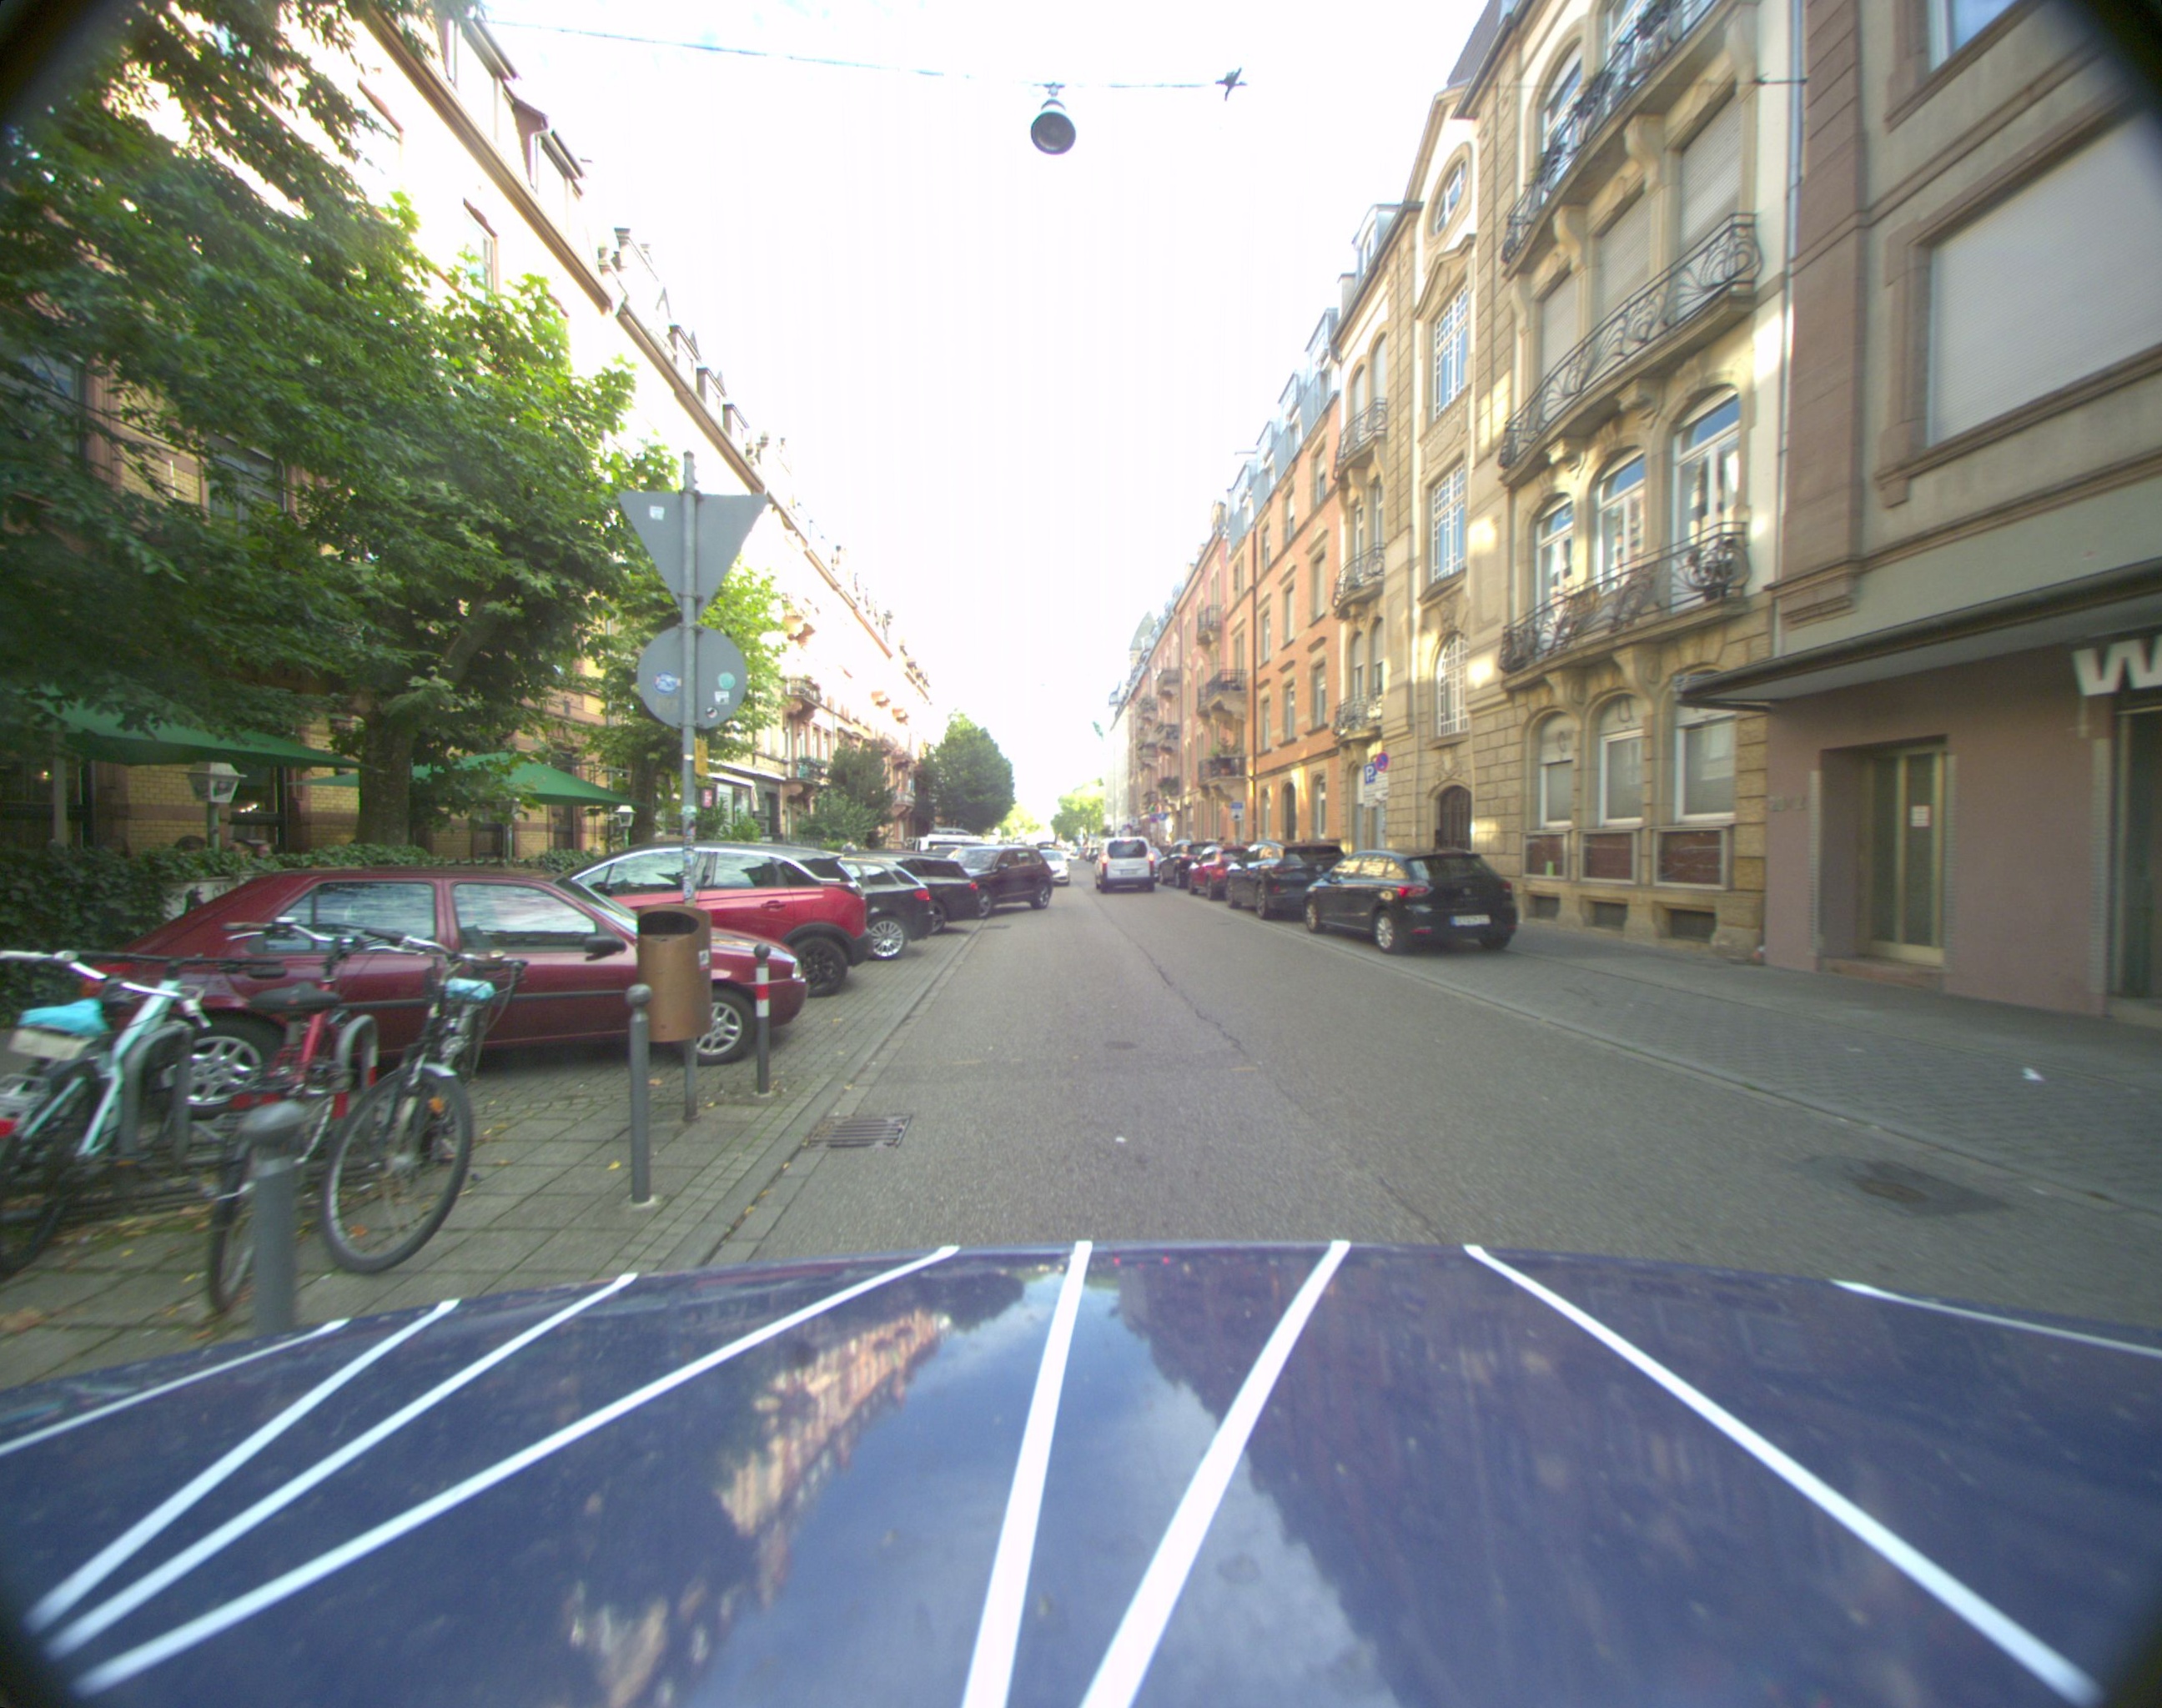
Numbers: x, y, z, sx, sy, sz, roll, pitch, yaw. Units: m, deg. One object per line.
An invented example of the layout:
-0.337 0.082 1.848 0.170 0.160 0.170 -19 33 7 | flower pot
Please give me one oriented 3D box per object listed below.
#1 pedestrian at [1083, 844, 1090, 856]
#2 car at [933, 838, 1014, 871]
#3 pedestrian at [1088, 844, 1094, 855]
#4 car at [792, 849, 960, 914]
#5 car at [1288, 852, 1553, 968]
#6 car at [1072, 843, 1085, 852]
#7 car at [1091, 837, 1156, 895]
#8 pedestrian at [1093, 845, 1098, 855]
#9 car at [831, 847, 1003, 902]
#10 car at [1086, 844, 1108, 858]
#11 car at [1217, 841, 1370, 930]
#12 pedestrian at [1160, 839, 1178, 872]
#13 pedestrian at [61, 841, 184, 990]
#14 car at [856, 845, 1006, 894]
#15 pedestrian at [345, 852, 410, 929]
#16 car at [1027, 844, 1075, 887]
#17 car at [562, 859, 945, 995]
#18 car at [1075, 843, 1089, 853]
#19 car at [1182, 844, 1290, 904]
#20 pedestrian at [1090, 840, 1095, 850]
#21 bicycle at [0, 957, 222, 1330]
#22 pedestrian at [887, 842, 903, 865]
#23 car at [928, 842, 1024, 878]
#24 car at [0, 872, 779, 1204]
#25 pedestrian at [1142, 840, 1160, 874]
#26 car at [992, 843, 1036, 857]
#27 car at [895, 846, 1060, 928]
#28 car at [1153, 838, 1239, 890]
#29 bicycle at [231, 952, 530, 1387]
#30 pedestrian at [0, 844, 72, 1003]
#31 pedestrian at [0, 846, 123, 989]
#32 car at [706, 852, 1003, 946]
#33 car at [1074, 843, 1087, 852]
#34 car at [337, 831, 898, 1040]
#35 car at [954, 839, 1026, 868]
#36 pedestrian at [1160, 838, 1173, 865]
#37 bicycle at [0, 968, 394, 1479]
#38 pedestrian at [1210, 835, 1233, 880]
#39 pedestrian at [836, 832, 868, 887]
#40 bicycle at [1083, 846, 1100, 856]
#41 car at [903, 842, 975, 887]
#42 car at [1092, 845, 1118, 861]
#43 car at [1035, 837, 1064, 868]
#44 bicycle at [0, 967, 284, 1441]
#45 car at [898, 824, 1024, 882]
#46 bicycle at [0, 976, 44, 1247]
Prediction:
0.656 -0.483 92.030 0.739 1.341 0.644 -2 2 0 | pedestrian
-6.462 0.071 45.887 4.650 1.774 1.809 2 -1 -4 | car
1.230 -0.529 91.476 0.689 1.365 0.739 -1 1 1 | pedestrian
-5.132 0.652 19.259 3.727 1.476 1.736 1 0 -40 | car
4.860 0.694 11.683 1.999 1.412 4.242 0 1 -3 | car
-0.475 -1.148 126.420 1.912 1.412 3.998 -2 1 -3 | car
1.395 0.357 26.700 1.922 1.818 4.437 -2 1 -1 | car
1.787 -0.494 92.772 0.597 1.237 0.694 -1 1 4 | pedestrian
-4.715 0.587 22.158 4.478 1.456 1.874 2 0 -37 | car
1.620 -0.317 77.554 1.675 1.407 4.009 -2 1 -6 | car
4.388 0.550 16.537 1.795 1.619 4.845 0 1 -2 | car
4.431 0.082 38.229 0.683 1.652 0.550 -3 2 -32 | pedestrian
-10.912 0.682 8.665 0.648 1.633 0.563 2 1 -7 | pedestrian
-4.882 0.543 25.054 4.479 1.468 1.884 3 -1 -42 | car
-11.453 0.584 12.391 0.489 1.212 0.649 2 1 -11 | pedestrian
-1.239 0.433 31.872 1.811 1.622 3.999 -3 1 -1 | car
-4.303 0.840 10.438 4.421 1.448 1.938 -1 1 -27 | car
0.185 -0.941 113.746 1.828 1.477 4.168 -2 1 -3 | car
4.343 0.491 22.010 1.999 1.536 4.424 0 1 -3 | car
1.981 -1.616 133.958 0.846 1.699 0.879 -2 2 -2 | pedestrian
-3.968 1.046 2.870 0.348 1.034 1.852 3 1 -29 | bicycle
-12.002 -0.050 49.014 0.930 1.488 0.811 1 1 -9 | pedestrian
-5.383 0.292 39.291 4.466 1.722 1.995 -2 1 -37 | car
-4.294 0.921 5.138 3.950 1.448 1.765 -1 1 -30 | car
3.534 0.143 38.374 0.566 1.699 0.666 -3 2 -37 | pedestrian
-7.925 -0.431 89.811 4.817 1.535 1.865 1 1 -35 | car
-2.338 0.694 18.470 1.871 1.644 4.393 -1 1 25 | car
4.070 0.322 27.736 1.878 1.671 4.891 -2 0 -6 | car
-2.770 1.064 3.202 0.550 1.034 1.852 3 1 -32 | bicycle
-10.929 0.683 7.685 0.630 1.561 0.570 0 1 -6 | pedestrian
-11.570 0.689 8.613 0.630 1.561 0.570 0 1 -6 | pedestrian
-4.046 0.744 13.762 4.777 1.448 2.051 2 -1 -30 | car
-0.092 -1.030 119.840 1.912 1.412 3.998 -2 1 -3 | car
-4.295 0.689 7.767 4.362 1.635 1.817 2 0 -28 | car
-6.119 -0.022 51.266 4.412 1.812 1.750 1 1 -34 | car
5.538 -0.159 49.013 0.665 1.686 0.763 -2 1 -3 | pedestrian
-3.142 1.098 2.861 0.462 1.034 1.852 3 1 -32 | bicycle
5.643 0.131 30.570 0.758 1.798 0.863 -2 1 1 | pedestrian
-7.924 0.177 26.331 0.841 1.867 0.723 0 1 2 | pedestrian
1.247 -0.398 90.352 1.873 1.168 0.687 -2 1 -1 | bicycle
-5.702 0.426 30.454 2.473 1.656 1.344 3 -1 -29 | car
2.089 -0.133 67.708 1.817 1.343 5.112 -1 1 -4 | car
-2.108 -0.115 52.085 1.811 1.914 3.999 -3 1 -1 | car
-3.485 1.077 2.667 0.348 1.034 2.013 3 1 -29 | bicycle
-5.242 -0.053 33.559 5.170 2.391 1.912 0 1 -35 | car
-4.033 1.042 2.242 0.446 1.034 1.901 3 1 -32 | bicycle
